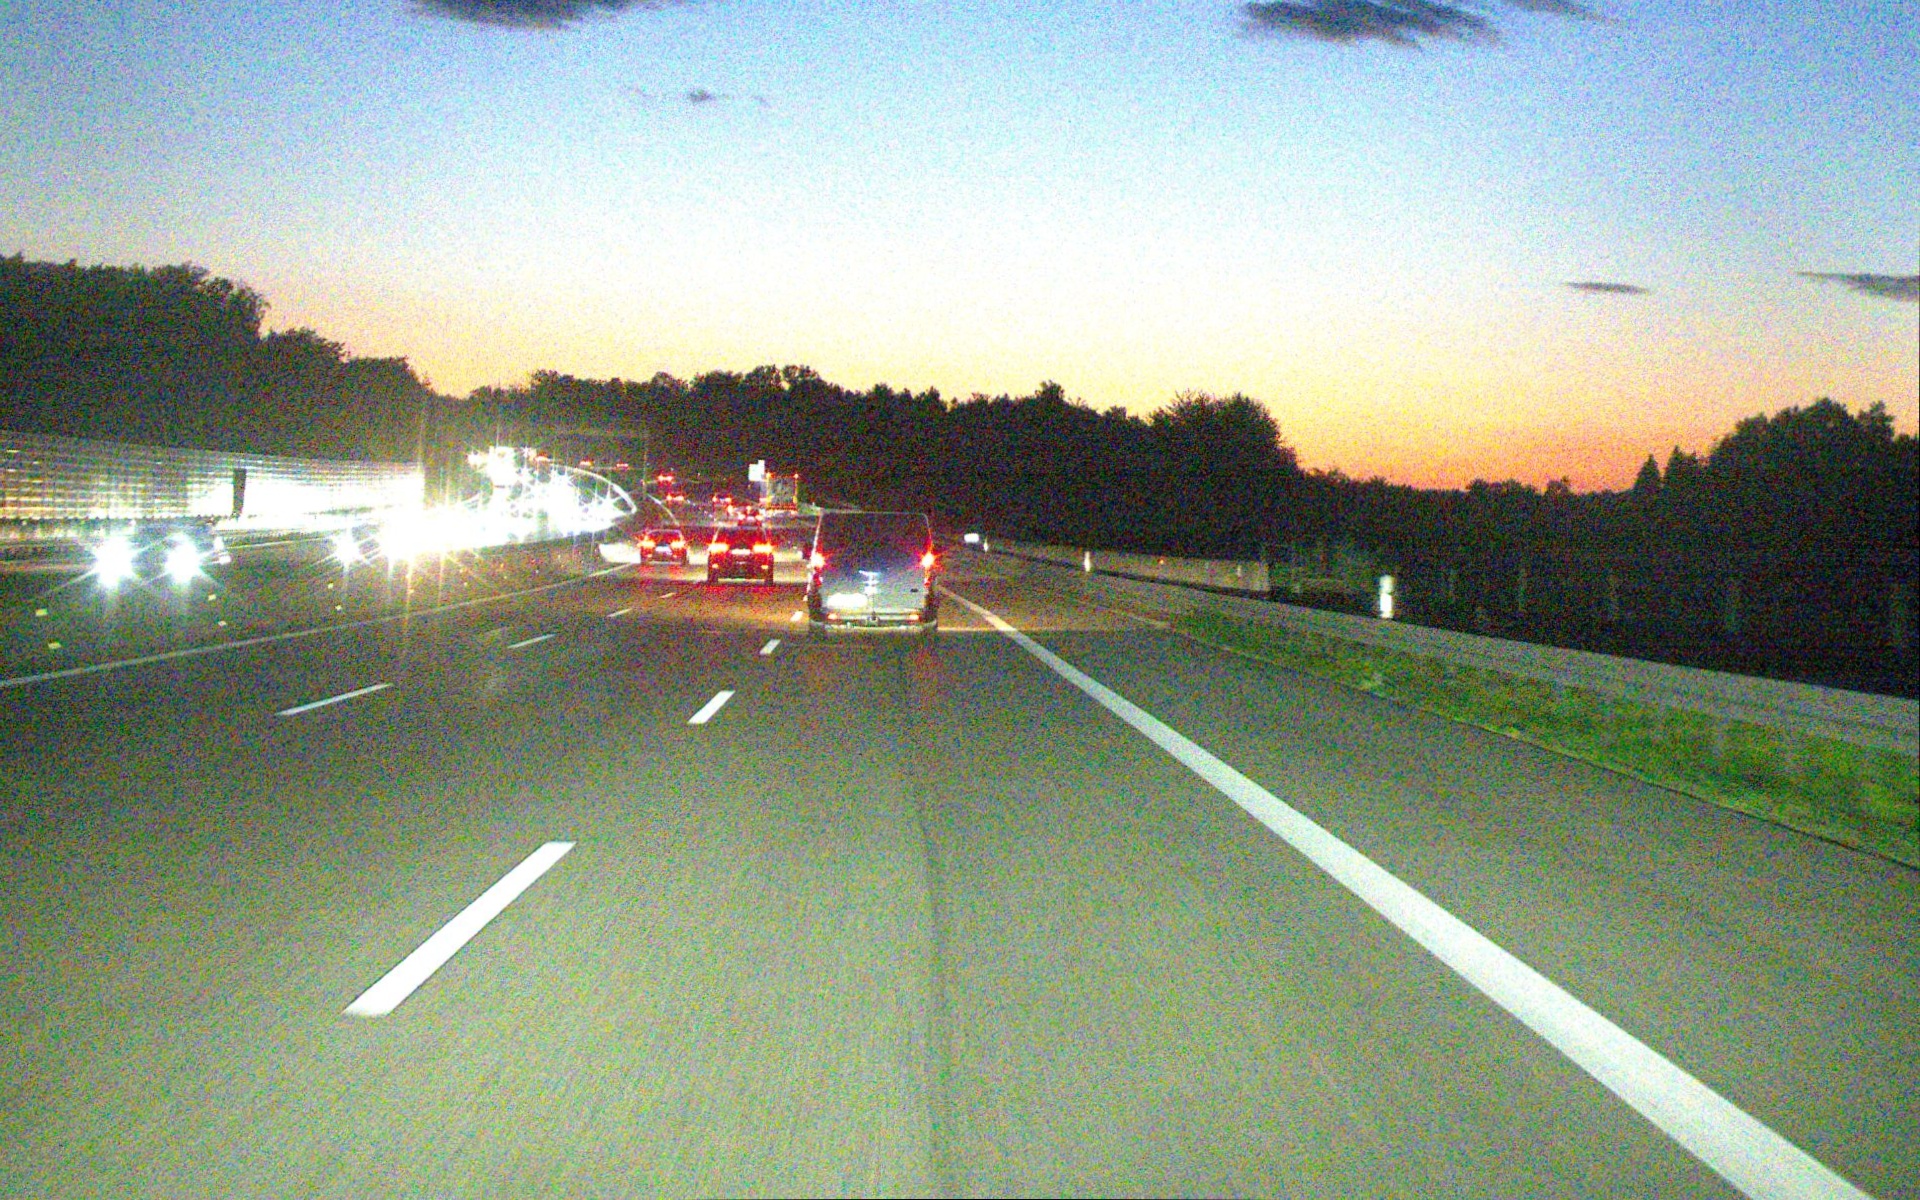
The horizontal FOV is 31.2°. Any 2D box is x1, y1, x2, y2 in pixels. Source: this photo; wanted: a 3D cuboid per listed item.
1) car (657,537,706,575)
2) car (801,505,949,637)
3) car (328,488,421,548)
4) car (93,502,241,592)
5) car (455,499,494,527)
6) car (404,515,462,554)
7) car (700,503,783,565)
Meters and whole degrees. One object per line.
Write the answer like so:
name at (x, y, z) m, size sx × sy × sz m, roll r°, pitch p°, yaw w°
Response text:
car at (-10.921, -1.723, 135.132) m, size 1.549 × 1.426 × 5.514 m, roll 1°, pitch 0°, yaw -1°
car at (-1.358, -0.479, 53.405) m, size 2.196 × 1.948 × 4.764 m, roll 0°, pitch 1°, yaw -2°
car at (-18.371, -2.585, 108.098) m, size 2.104 × 1.783 × 4.870 m, roll 1°, pitch 2°, yaw -1°
car at (-16.522, -1.087, 71.862) m, size 2.104 × 1.783 × 4.319 m, roll 1°, pitch 0°, yaw -1°
car at (-32.573, -5.840, 230.729) m, size 2.104 × 1.783 × 4.651 m, roll 1°, pitch 0°, yaw -3°
car at (-25.374, -3.127, 165.615) m, size 2.104 × 1.783 × 4.651 m, roll 1°, pitch 0°, yaw -1°
car at (-6.426, -1.921, 101.690) m, size 1.993 × 1.715 × 5.942 m, roll 0°, pitch 0°, yaw 1°
